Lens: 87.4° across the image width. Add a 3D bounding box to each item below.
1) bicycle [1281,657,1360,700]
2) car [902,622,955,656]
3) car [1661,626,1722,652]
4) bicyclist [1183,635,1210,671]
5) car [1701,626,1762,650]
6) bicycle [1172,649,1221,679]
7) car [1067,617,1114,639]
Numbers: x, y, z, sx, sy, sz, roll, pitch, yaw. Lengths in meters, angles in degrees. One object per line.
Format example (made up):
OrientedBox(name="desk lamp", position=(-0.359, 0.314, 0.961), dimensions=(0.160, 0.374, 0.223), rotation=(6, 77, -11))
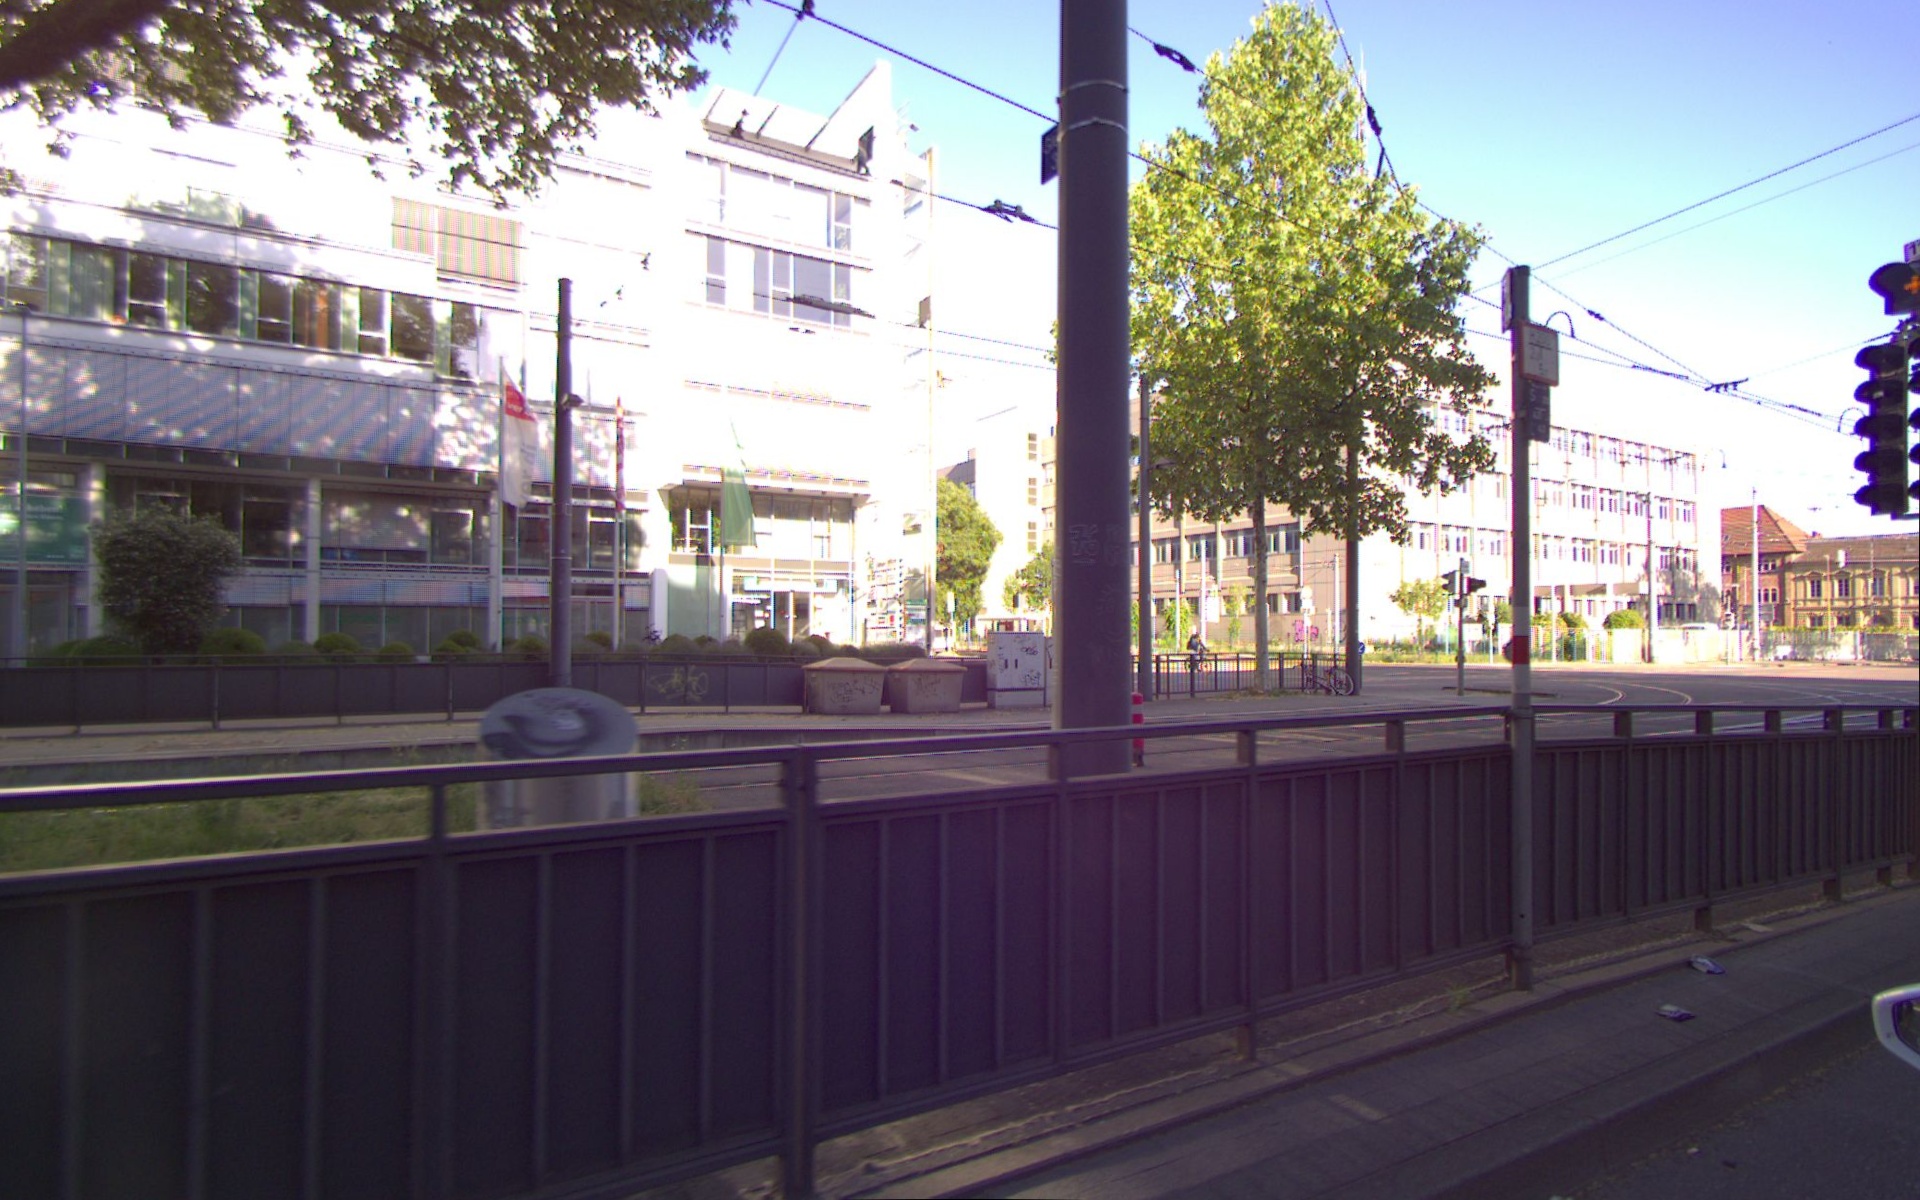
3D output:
OrientedBox(name="bicycle", position=(8.671, 1.873, 24.157), dimensions=(1.702, 0.958, 0.810), rotation=(1, -2, -25))
OrientedBox(name="car", position=(-2.453, 3.035, 77.578), dimensions=(2.159, 2.538, 4.361), rotation=(2, -2, -33))
OrientedBox(name="car", position=(57.987, 3.110, 79.621), dimensions=(4.663, 2.040, 1.987), rotation=(1, -2, -27))
OrientedBox(name="bicyclist", position=(10.094, 2.246, 42.916), dimensions=(0.869, 1.514, 0.719), rotation=(0, -2, 43))
OrientedBox(name="car", position=(59.018, 2.912, 76.816), dimensions=(4.320, 1.725, 1.987), rotation=(1, -2, -26))
OrientedBox(name="bicycle", position=(10.074, 2.700, 42.904), dimensions=(2.014, 1.205, 0.587), rotation=(-1, -2, 43))
OrientedBox(name="car", position=(11.968, 2.578, 92.139), dimensions=(3.955, 2.040, 1.983), rotation=(1, -2, -32))
